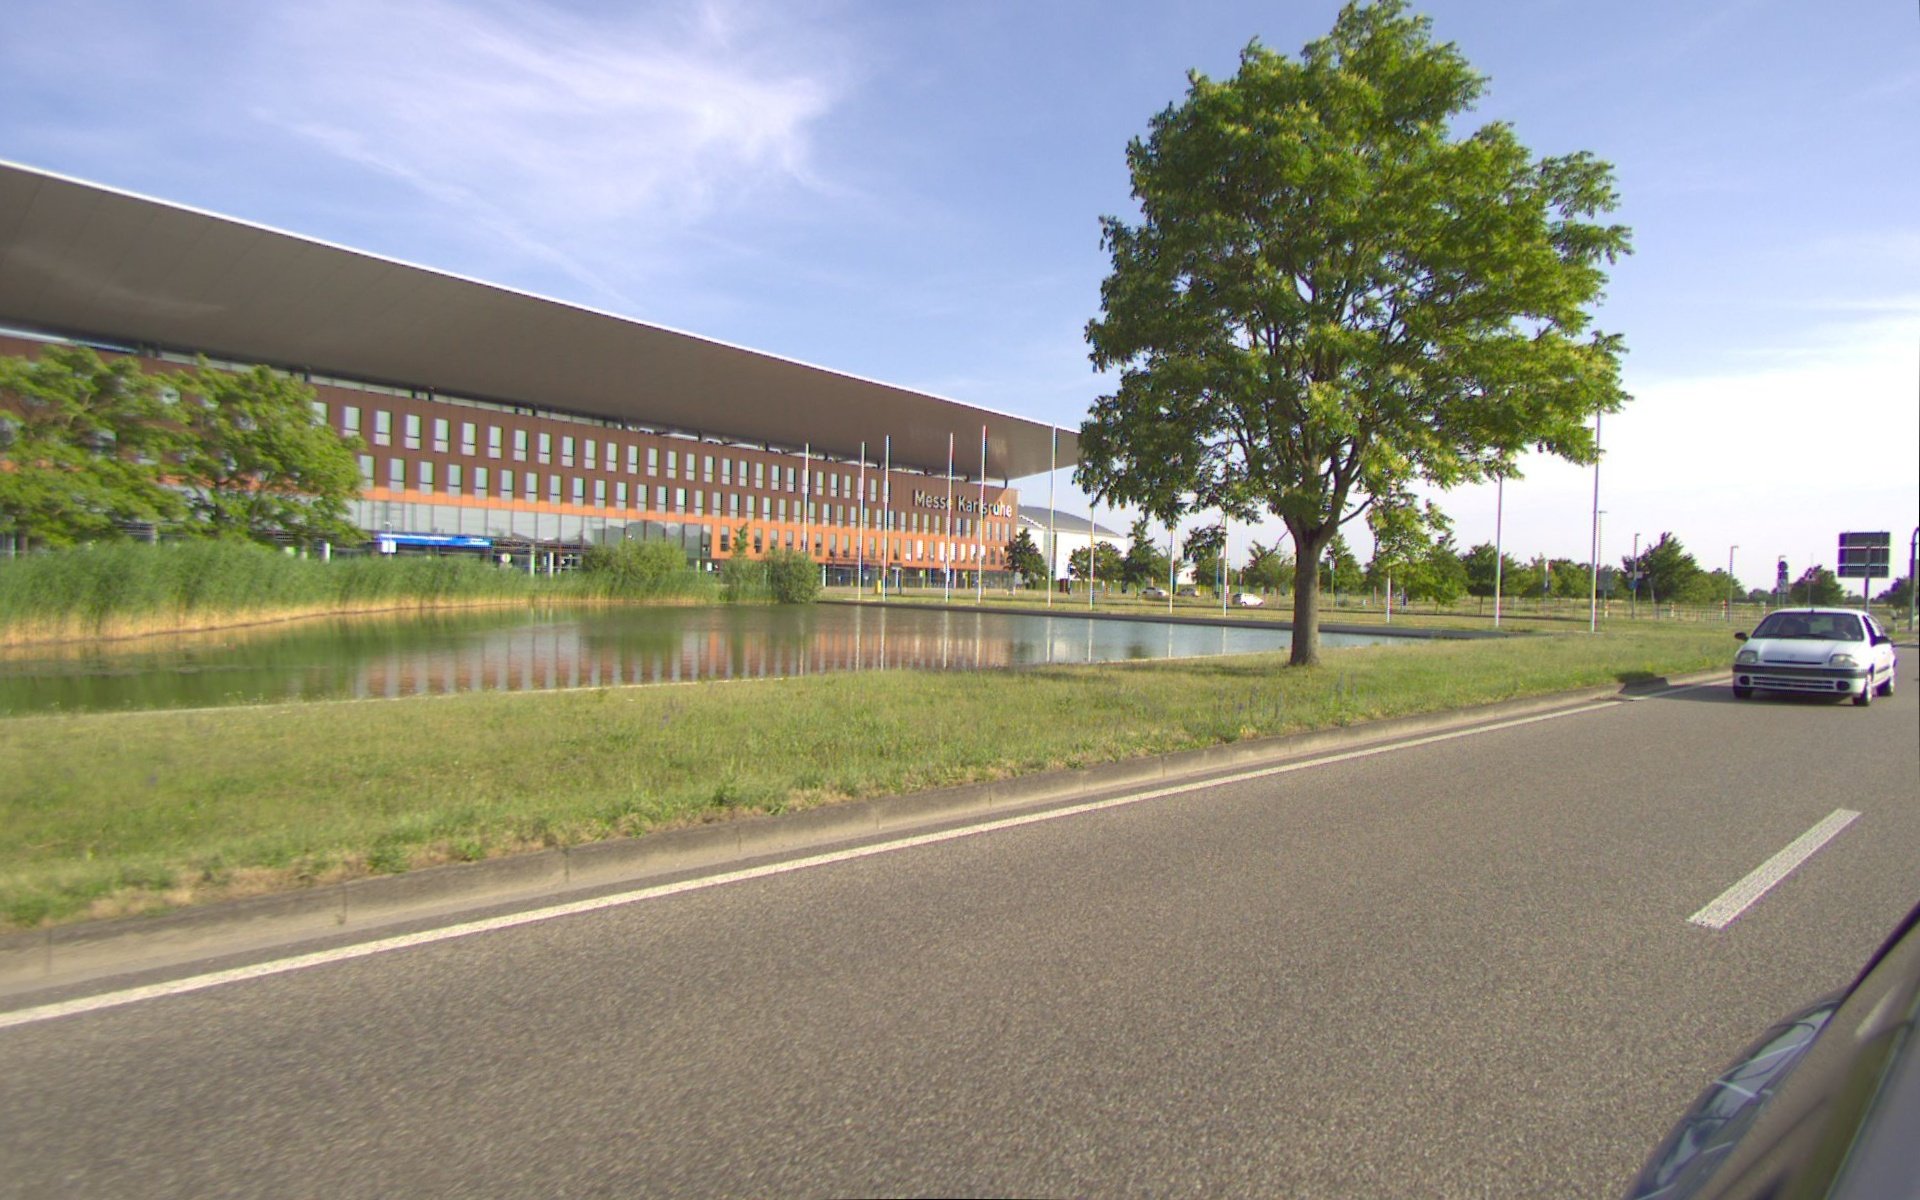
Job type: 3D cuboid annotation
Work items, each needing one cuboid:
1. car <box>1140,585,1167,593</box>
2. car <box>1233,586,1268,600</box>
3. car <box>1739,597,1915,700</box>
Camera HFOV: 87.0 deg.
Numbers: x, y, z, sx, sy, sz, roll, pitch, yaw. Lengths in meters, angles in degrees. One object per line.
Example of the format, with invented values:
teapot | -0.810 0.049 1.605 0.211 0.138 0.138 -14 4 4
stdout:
car | 31.592 -1.751 165.087 1.461 1.295 4.202 1 1 -43
car | 31.879 -0.755 110.870 3.493 1.473 1.714 1 0 -29
car | 13.558 0.681 15.771 3.391 1.396 1.577 0 1 -41
